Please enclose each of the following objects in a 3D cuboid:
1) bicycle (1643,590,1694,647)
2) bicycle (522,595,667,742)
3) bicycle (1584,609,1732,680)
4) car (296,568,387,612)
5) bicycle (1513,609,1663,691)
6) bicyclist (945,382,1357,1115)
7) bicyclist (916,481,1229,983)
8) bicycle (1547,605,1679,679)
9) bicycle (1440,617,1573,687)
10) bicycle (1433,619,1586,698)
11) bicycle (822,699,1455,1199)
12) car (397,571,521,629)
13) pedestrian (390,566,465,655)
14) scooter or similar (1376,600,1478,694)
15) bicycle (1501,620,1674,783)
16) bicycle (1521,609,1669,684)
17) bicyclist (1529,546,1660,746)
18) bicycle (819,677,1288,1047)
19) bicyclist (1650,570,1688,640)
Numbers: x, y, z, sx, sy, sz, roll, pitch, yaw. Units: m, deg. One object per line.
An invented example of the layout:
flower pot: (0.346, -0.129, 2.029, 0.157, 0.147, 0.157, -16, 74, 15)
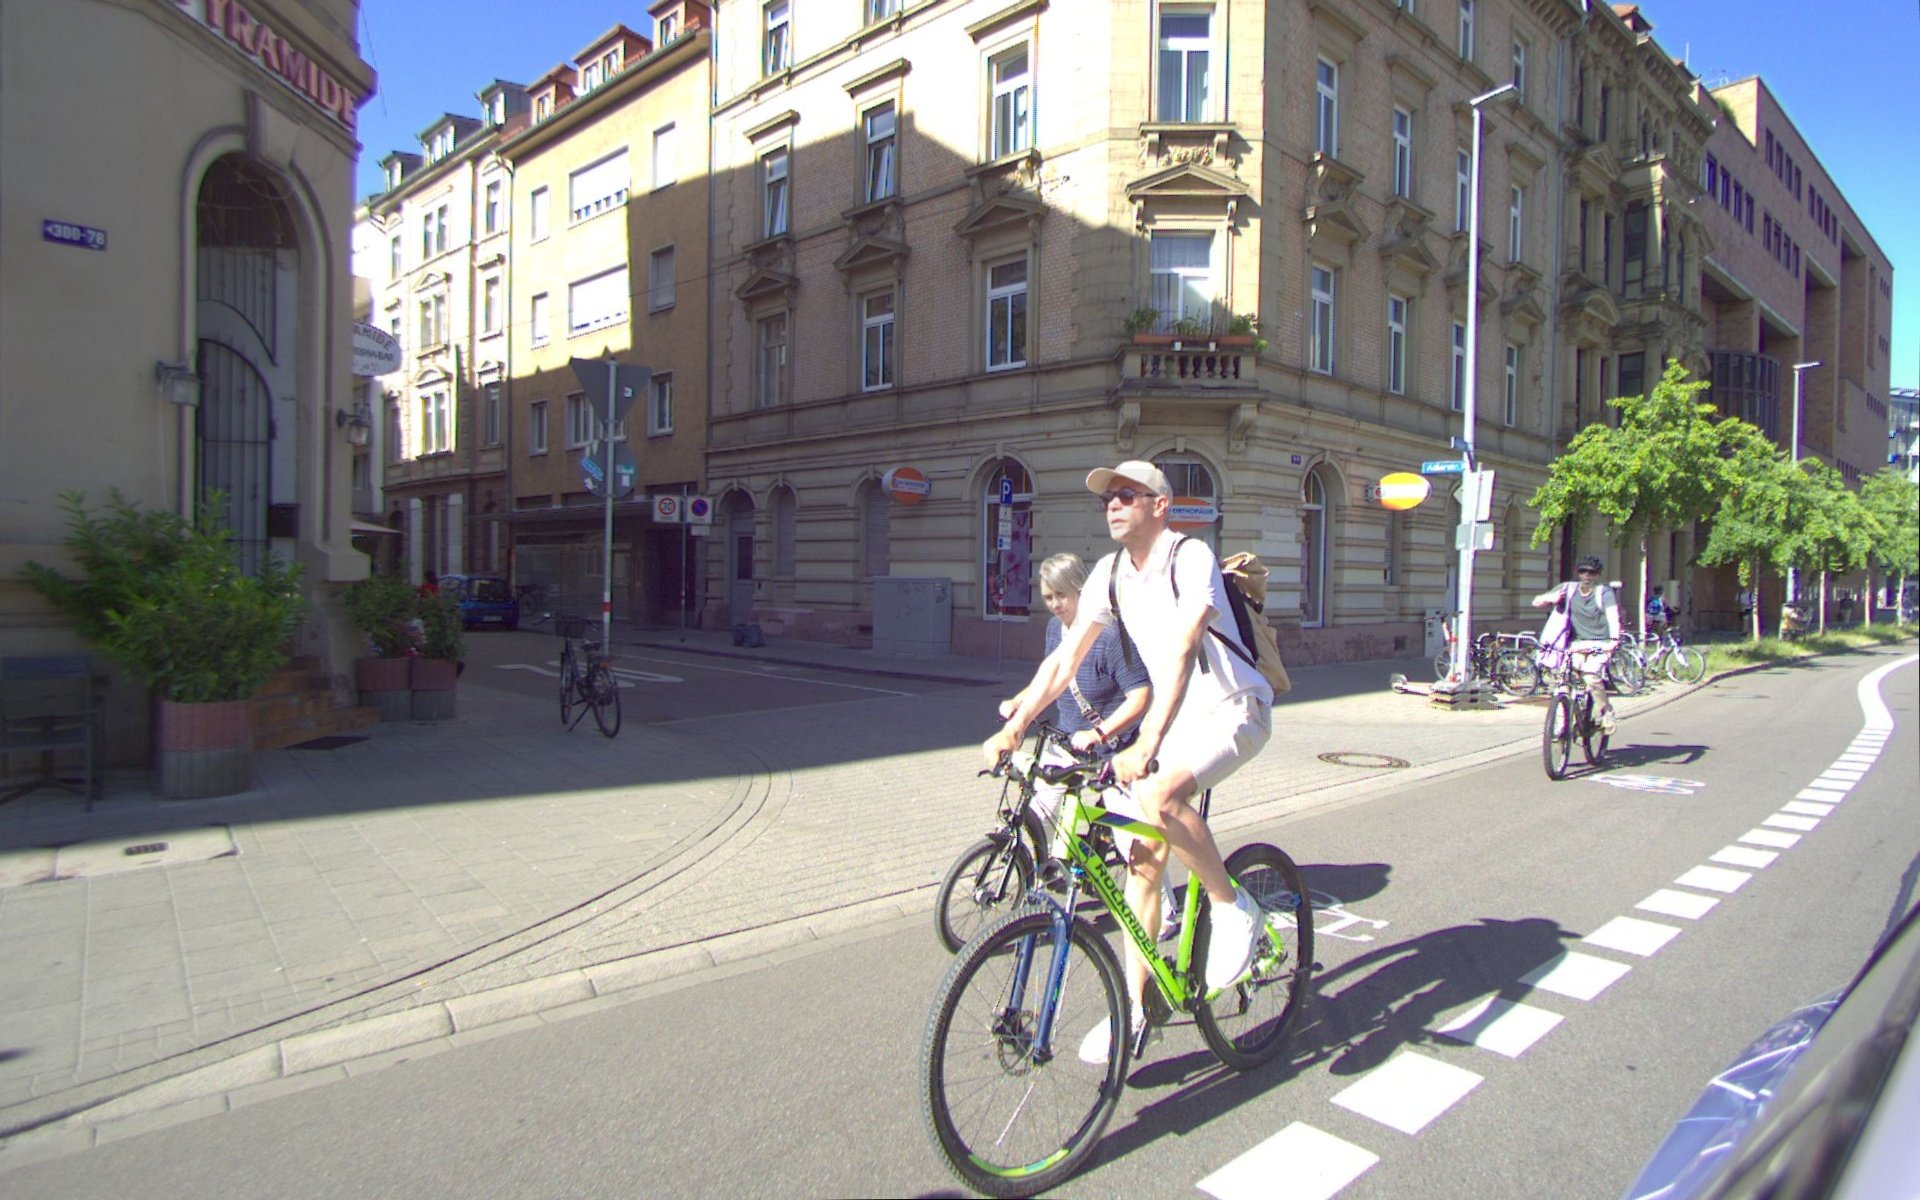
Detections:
bicycle: (16.925, 0.419, 24.154, 2.063, 1.268, 0.578, -1, 2, -43)
bicycle: (-3.710, 0.626, 10.140, 0.801, 1.247, 2.221, 4, 0, -34)
bicycle: (12.779, 0.783, 18.584, 0.833, 1.054, 2.062, -1, 5, -41)
car: (-19.845, -0.342, 32.433, 3.376, 1.338, 1.605, 1, 2, 42)
bicycle: (9.832, 0.751, 15.890, 0.598, 1.061, 1.873, -1, 4, -45)
bicyclist: (0.548, 0.335, 2.892, 0.959, 1.677, 0.700, 0, 0, -37)
bicyclist: (0.461, 0.455, 4.169, 0.971, 1.748, 0.853, 0, 0, -41)
bicycle: (11.540, 0.711, 17.914, 1.115, 1.074, 1.677, -1, 6, -42)
bicycle: (8.258, 0.763, 15.346, 0.488, 0.937, 1.717, -1, 2, -40)
bicycle: (7.954, 0.815, 14.743, 0.580, 0.922, 1.911, -1, 4, -31)
bicycle: (0.614, 0.892, 2.951, 1.916, 1.019, 0.725, 0, 0, -38)
car: (-13.386, -0.042, 26.964, 3.686, 1.428, 1.594, 2, 2, 40)
pedestrian: (-9.782, 0.176, 18.622, 0.824, 1.593, 0.901, -1, 0, 22)
scooter or similar: (6.512, 0.630, 14.141, 0.479, 1.212, 1.197, 0, 1, -44)
bicycle: (5.426, 0.796, 8.703, 1.918, 1.209, 0.724, 0, 0, -41)
bicycle: (10.725, 0.746, 17.135, 1.013, 1.043, 1.901, -1, 4, -43)
bicyclist: (5.501, 0.368, 8.773, 0.879, 1.625, 0.724, 0, 0, -41)
bicycle: (0.456, 0.905, 4.162, 1.918, 1.019, 0.829, 0, 0, -41)
bicyclist: (16.894, 0.101, 24.107, 0.781, 1.637, 0.578, -1, 2, -43)
